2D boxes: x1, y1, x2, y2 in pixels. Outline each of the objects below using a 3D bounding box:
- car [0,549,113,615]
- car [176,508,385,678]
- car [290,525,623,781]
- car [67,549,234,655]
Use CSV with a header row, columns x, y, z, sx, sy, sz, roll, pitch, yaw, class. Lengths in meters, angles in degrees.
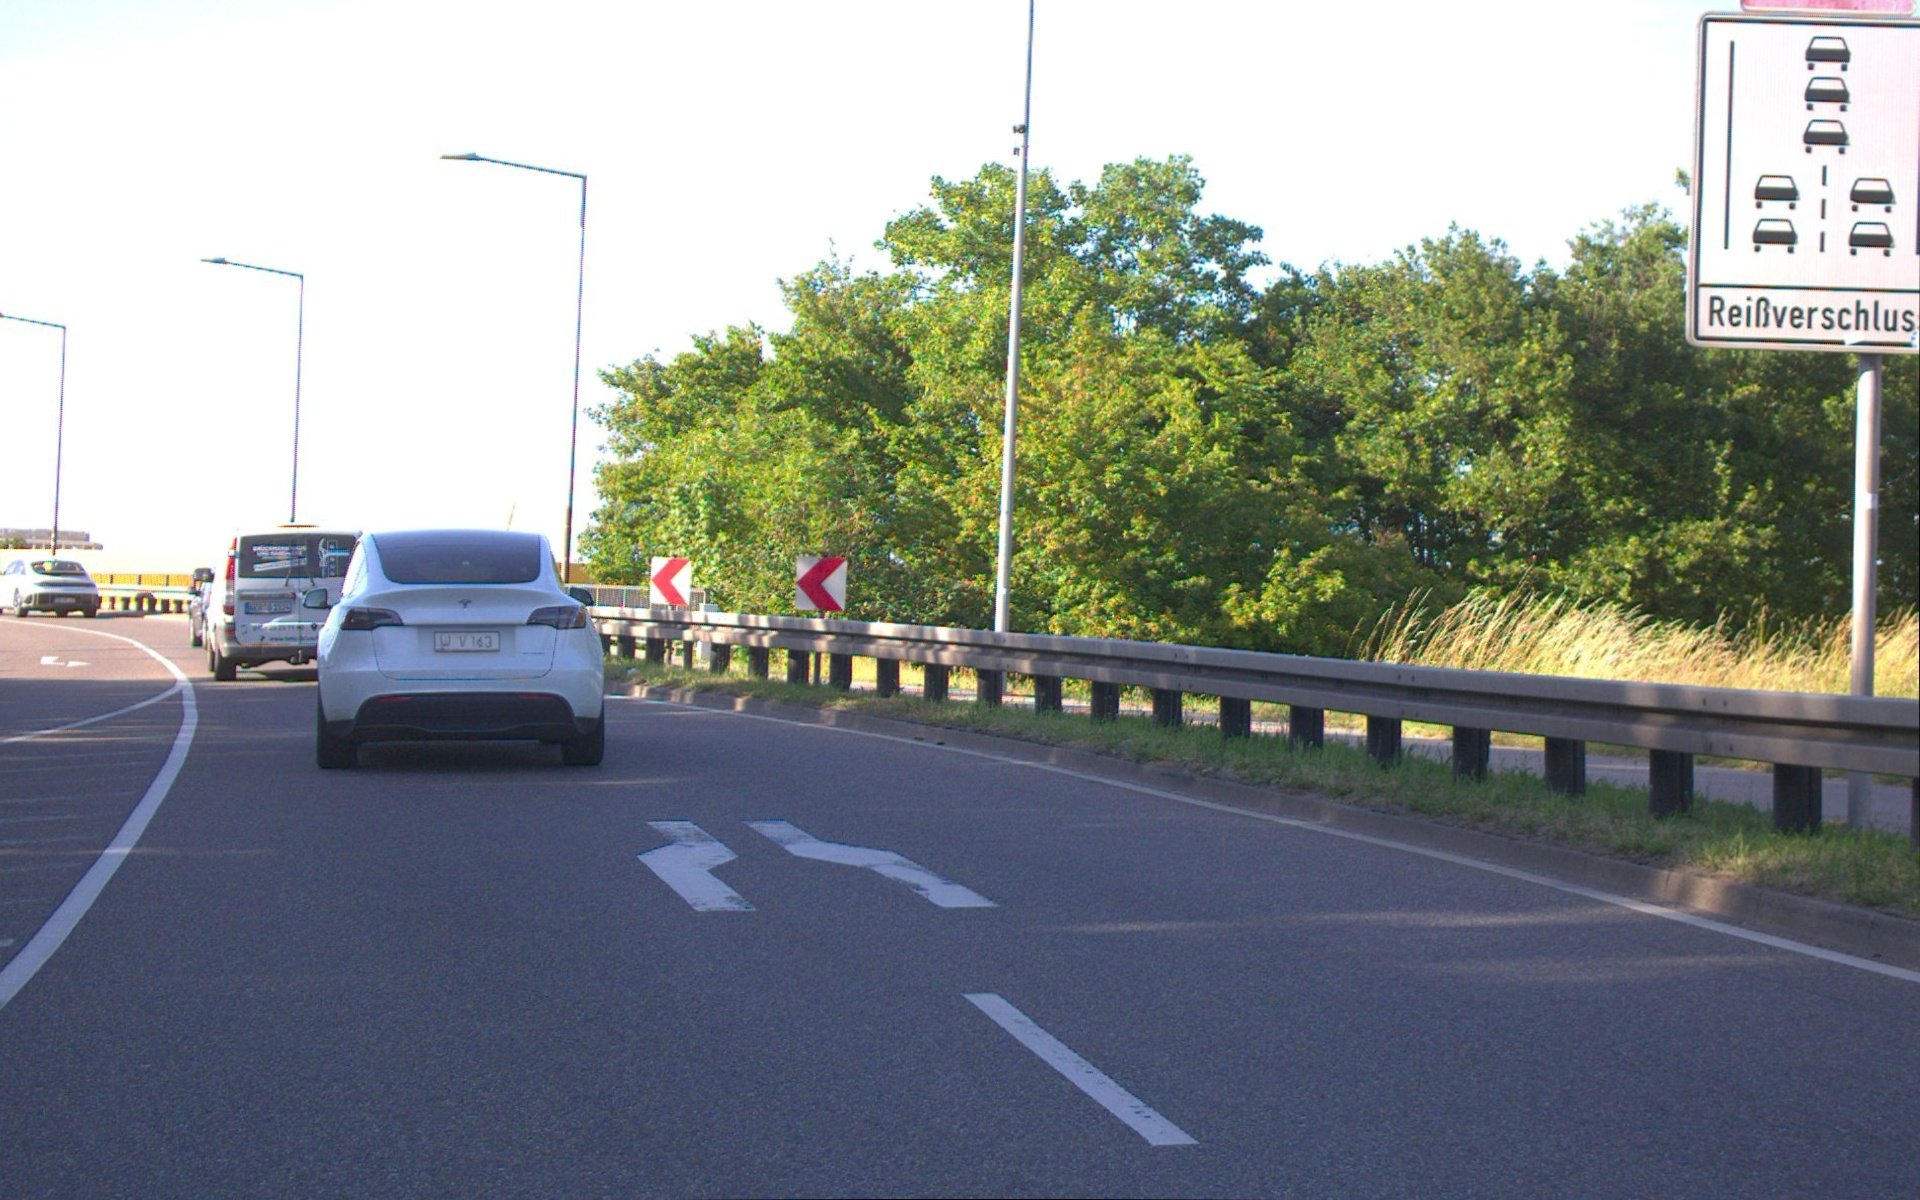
x,y,z,sx,sy,sz,roll,pitch,yaw,class
-22.131,-0.456,83.714,1.993,1.534,4.001,1,1,-28,car
-8.328,-0.106,41.838,2.004,1.934,4.469,1,1,-17,car
-3.633,0.308,24.235,1.985,1.632,4.064,0,1,-13,car
-13.163,0.005,55.759,1.968,1.632,4.001,-1,1,-23,car
